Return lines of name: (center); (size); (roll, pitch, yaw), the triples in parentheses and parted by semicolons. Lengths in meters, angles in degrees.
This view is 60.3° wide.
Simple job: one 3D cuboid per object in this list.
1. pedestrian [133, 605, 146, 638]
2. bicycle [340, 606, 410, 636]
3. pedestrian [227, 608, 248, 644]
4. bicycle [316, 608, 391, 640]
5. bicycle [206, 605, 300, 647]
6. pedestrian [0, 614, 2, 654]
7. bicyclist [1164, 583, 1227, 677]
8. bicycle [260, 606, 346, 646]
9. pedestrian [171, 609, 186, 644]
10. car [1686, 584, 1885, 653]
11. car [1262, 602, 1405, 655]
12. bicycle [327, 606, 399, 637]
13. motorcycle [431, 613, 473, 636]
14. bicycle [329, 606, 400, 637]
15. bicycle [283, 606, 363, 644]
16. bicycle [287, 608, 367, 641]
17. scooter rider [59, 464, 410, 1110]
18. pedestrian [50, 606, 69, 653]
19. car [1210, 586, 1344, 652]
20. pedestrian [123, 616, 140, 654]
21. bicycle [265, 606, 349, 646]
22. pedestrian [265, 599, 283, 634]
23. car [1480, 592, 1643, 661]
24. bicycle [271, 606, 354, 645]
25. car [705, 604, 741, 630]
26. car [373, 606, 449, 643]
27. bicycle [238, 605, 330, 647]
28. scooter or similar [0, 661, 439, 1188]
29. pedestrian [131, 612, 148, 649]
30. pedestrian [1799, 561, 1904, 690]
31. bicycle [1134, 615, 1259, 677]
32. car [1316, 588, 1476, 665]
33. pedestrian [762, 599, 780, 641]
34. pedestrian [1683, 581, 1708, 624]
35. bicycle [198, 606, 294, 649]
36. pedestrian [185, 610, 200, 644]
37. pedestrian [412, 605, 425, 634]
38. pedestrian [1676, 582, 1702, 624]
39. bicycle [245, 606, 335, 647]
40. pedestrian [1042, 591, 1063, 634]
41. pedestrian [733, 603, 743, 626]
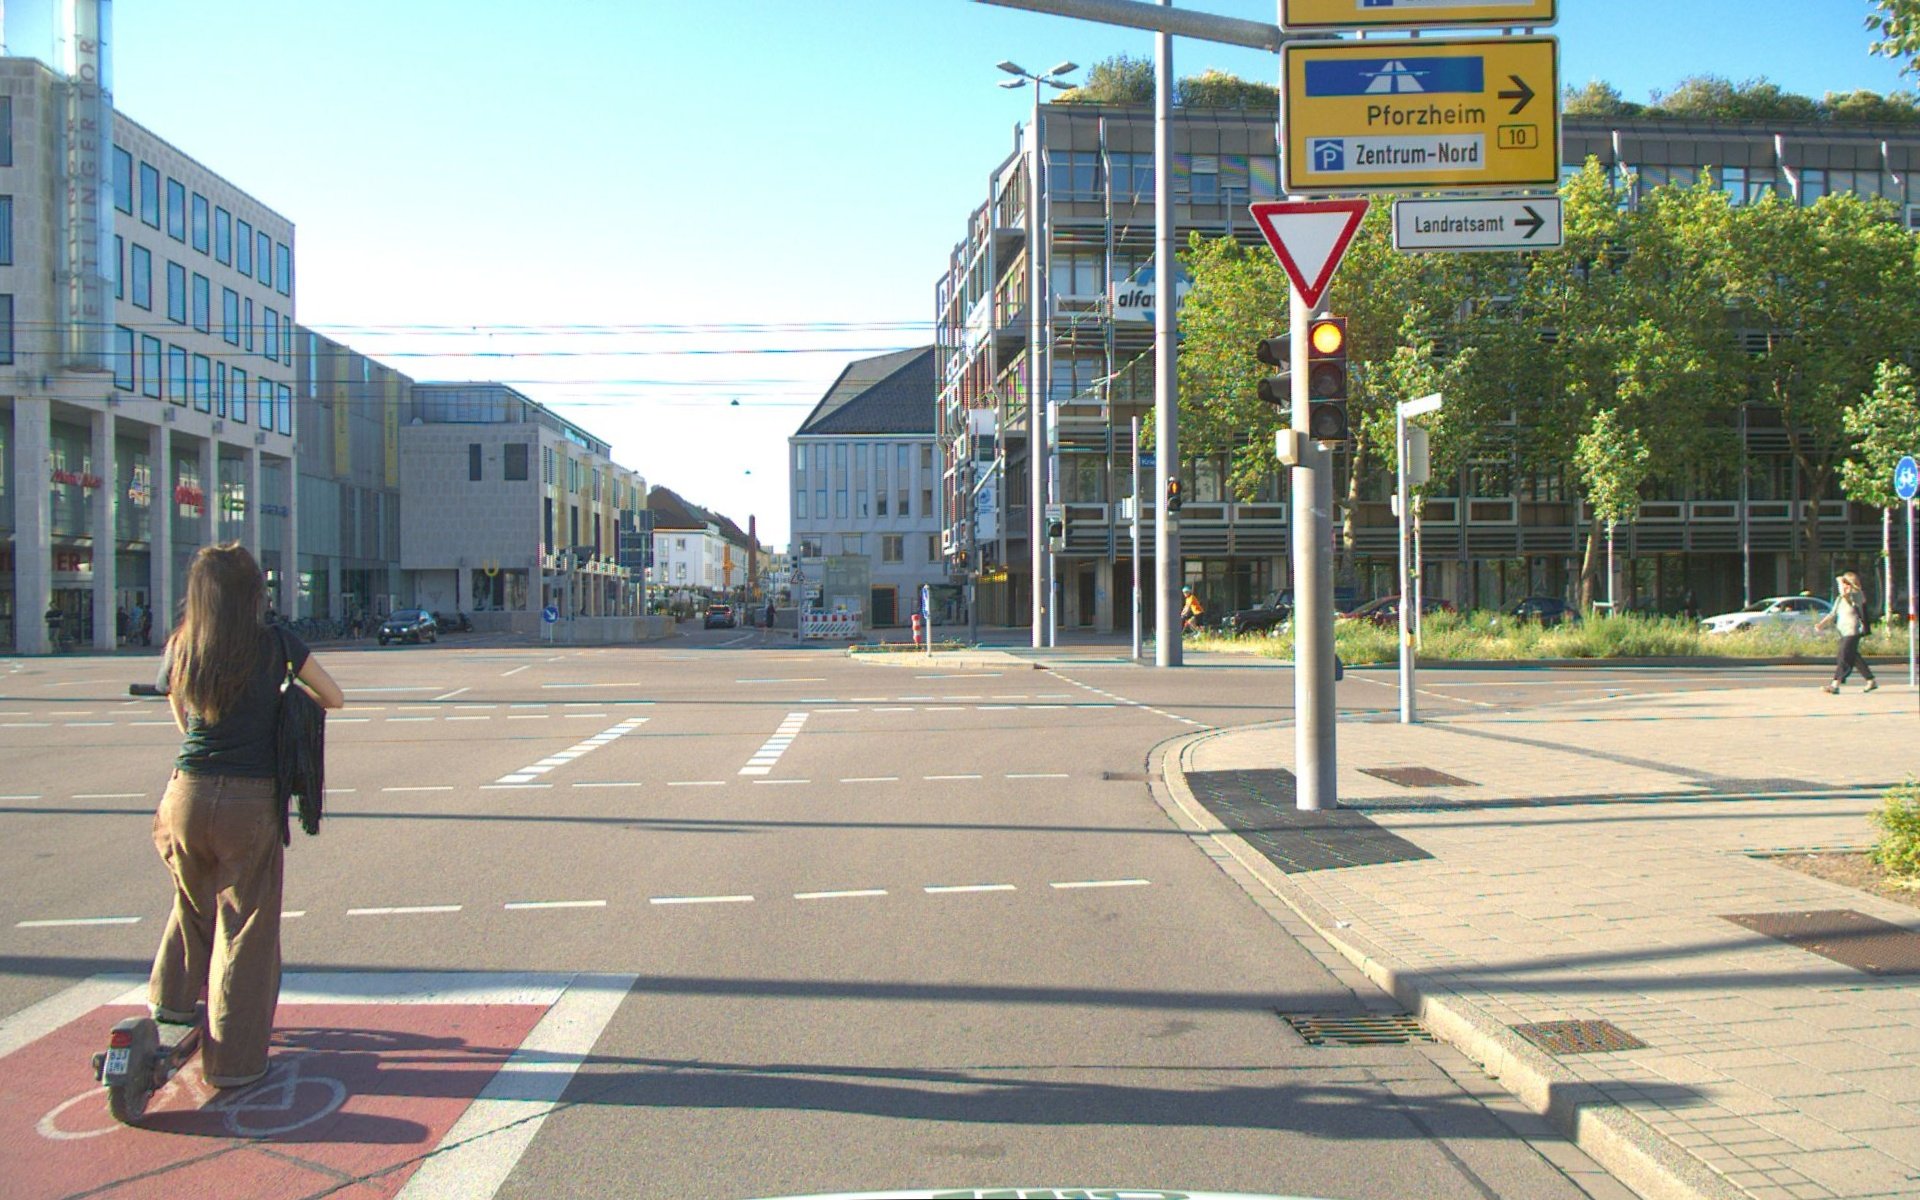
pedestrian: (-36.670, 0.972, 73.902); (0.379, 1.464, 0.367); (-1, 0, -6)
bicycle: (-31.480, 1.141, 89.012); (3.430, 1.554, 0.984); (-1, 0, -12)
pedestrian: (-33.509, 1.198, 76.724); (0.770, 1.671, 0.693); (-1, 0, -12)
bicycle: (-30.885, 1.215, 84.259); (3.430, 1.554, 0.984); (-1, 0, -12)
bicycle: (-29.549, 1.078, 69.188); (3.427, 1.726, 1.114); (-1, 0, -10)
pedestrian: (-34.573, 1.233, 59.318); (0.382, 1.437, 0.433); (-1, 0, -32)
bicyclist: (6.718, 0.836, 47.217); (1.539, 2.625, 0.930); (-1, 0, -10)
bicycle: (-29.574, 1.171, 74.487); (3.430, 1.726, 0.984); (-1, 0, -12)
pedestrian: (-36.783, 1.246, 77.843); (0.472, 1.613, 0.598); (-1, 0, -5)
car: (26.172, 0.584, 52.570); (5.332, 2.049, 2.096); (1, 0, -3)
car: (11.439, 0.868, 50.810); (3.908, 1.534, 1.867); (1, 0, -4)
bicycle: (-31.073, 1.123, 86.121); (3.430, 1.554, 0.984); (-1, 0, -12)
motorcycle: (-29.955, 1.439, 97.587); (2.230, 1.341, 0.719); (-1, 0, -6)
bicycle: (-31.389, 1.111, 87.237); (3.430, 1.554, 0.984); (-1, 0, -12)
bicycle: (-30.337, 1.191, 78.860); (3.430, 1.726, 0.984); (-1, 0, -12)
bicycle: (-30.542, 1.174, 79.849); (3.430, 1.554, 0.984); (-1, 0, -12)
scooter rider: (-2.168, 0.522, 5.042); (0.713, 1.806, 0.811); (0, 0, -1)
pedestrian: (-32.296, 1.064, 59.331); (0.535, 1.671, 0.544); (-1, 0, -33)
car: (10.304, 0.603, 53.913); (3.908, 2.049, 1.999); (1, 0, -3)
pedestrian: (-34.866, 1.466, 69.576); (0.472, 1.613, 0.513); (-1, 0, -5)
bicycle: (-29.798, 1.181, 75.575); (3.430, 1.726, 0.984); (-1, 0, -12)
pedestrian: (-32.952, 0.802, 79.482); (0.641, 1.671, 0.693); (-1, 0, -9)
car: (18.827, 0.826, 51.874); (4.359, 2.049, 1.998); (1, 0, -6)
bicycle: (-30.039, 1.182, 76.775); (3.430, 1.726, 0.984); (-1, 0, -12)
car: (-15.497, 1.101, 108.157); (2.157, 1.635, 4.320); (-1, 0, -6)
car: (-23.541, 1.035, 71.072); (1.953, 1.512, 3.999); (-1, 0, -1)
bicycle: (-28.868, 1.090, 70.706); (3.427, 1.726, 1.114); (-1, 0, -10)
scooter or similar: (-2.153, 0.827, 4.894); (0.713, 1.223, 1.664); (0, 0, -1)
pedestrian: (-34.806, 1.299, 70.173); (0.472, 1.537, 0.513); (-1, 0, -5)
pedestrian: (11.767, 0.330, 21.852); (0.787, 1.658, 0.939); (-1, 0, -14)
bicycle: (6.748, 1.306, 47.217); (3.427, 1.688, 0.929); (-1, 0, -10)
car: (12.231, 0.738, 46.572); (3.908, 2.049, 1.999); (1, 0, -3)
pedestrian: (-7.715, 0.816, 67.469); (0.650, 1.687, 0.755); (-1, 0, -4)
pedestrian: (29.489, 0.101, 66.319); (0.651, 1.687, 0.740); (-1, 0, -8)
bicycle: (-29.322, 1.116, 68.026); (3.427, 1.726, 1.114); (-1, 0, -10)
pedestrian: (-36.282, 1.270, 78.218); (0.472, 1.613, 0.598); (-1, 0, -5)
pedestrian: (-31.881, 1.164, 97.349); (0.682, 1.671, 0.695); (-1, 0, -19)
pedestrian: (29.617, 0.108, 67.177); (0.651, 1.687, 0.740); (-1, 0, -8)
bicycle: (-29.099, 1.126, 71.918); (3.427, 1.726, 1.114); (-1, 0, -10)
pedestrian: (3.678, 0.491, 65.569); (0.715, 1.687, 0.649); (-1, 0, -8)
pedestrian: (-14.120, 0.933, 105.012); (0.598, 1.436, 0.569); (-1, 0, -7)
